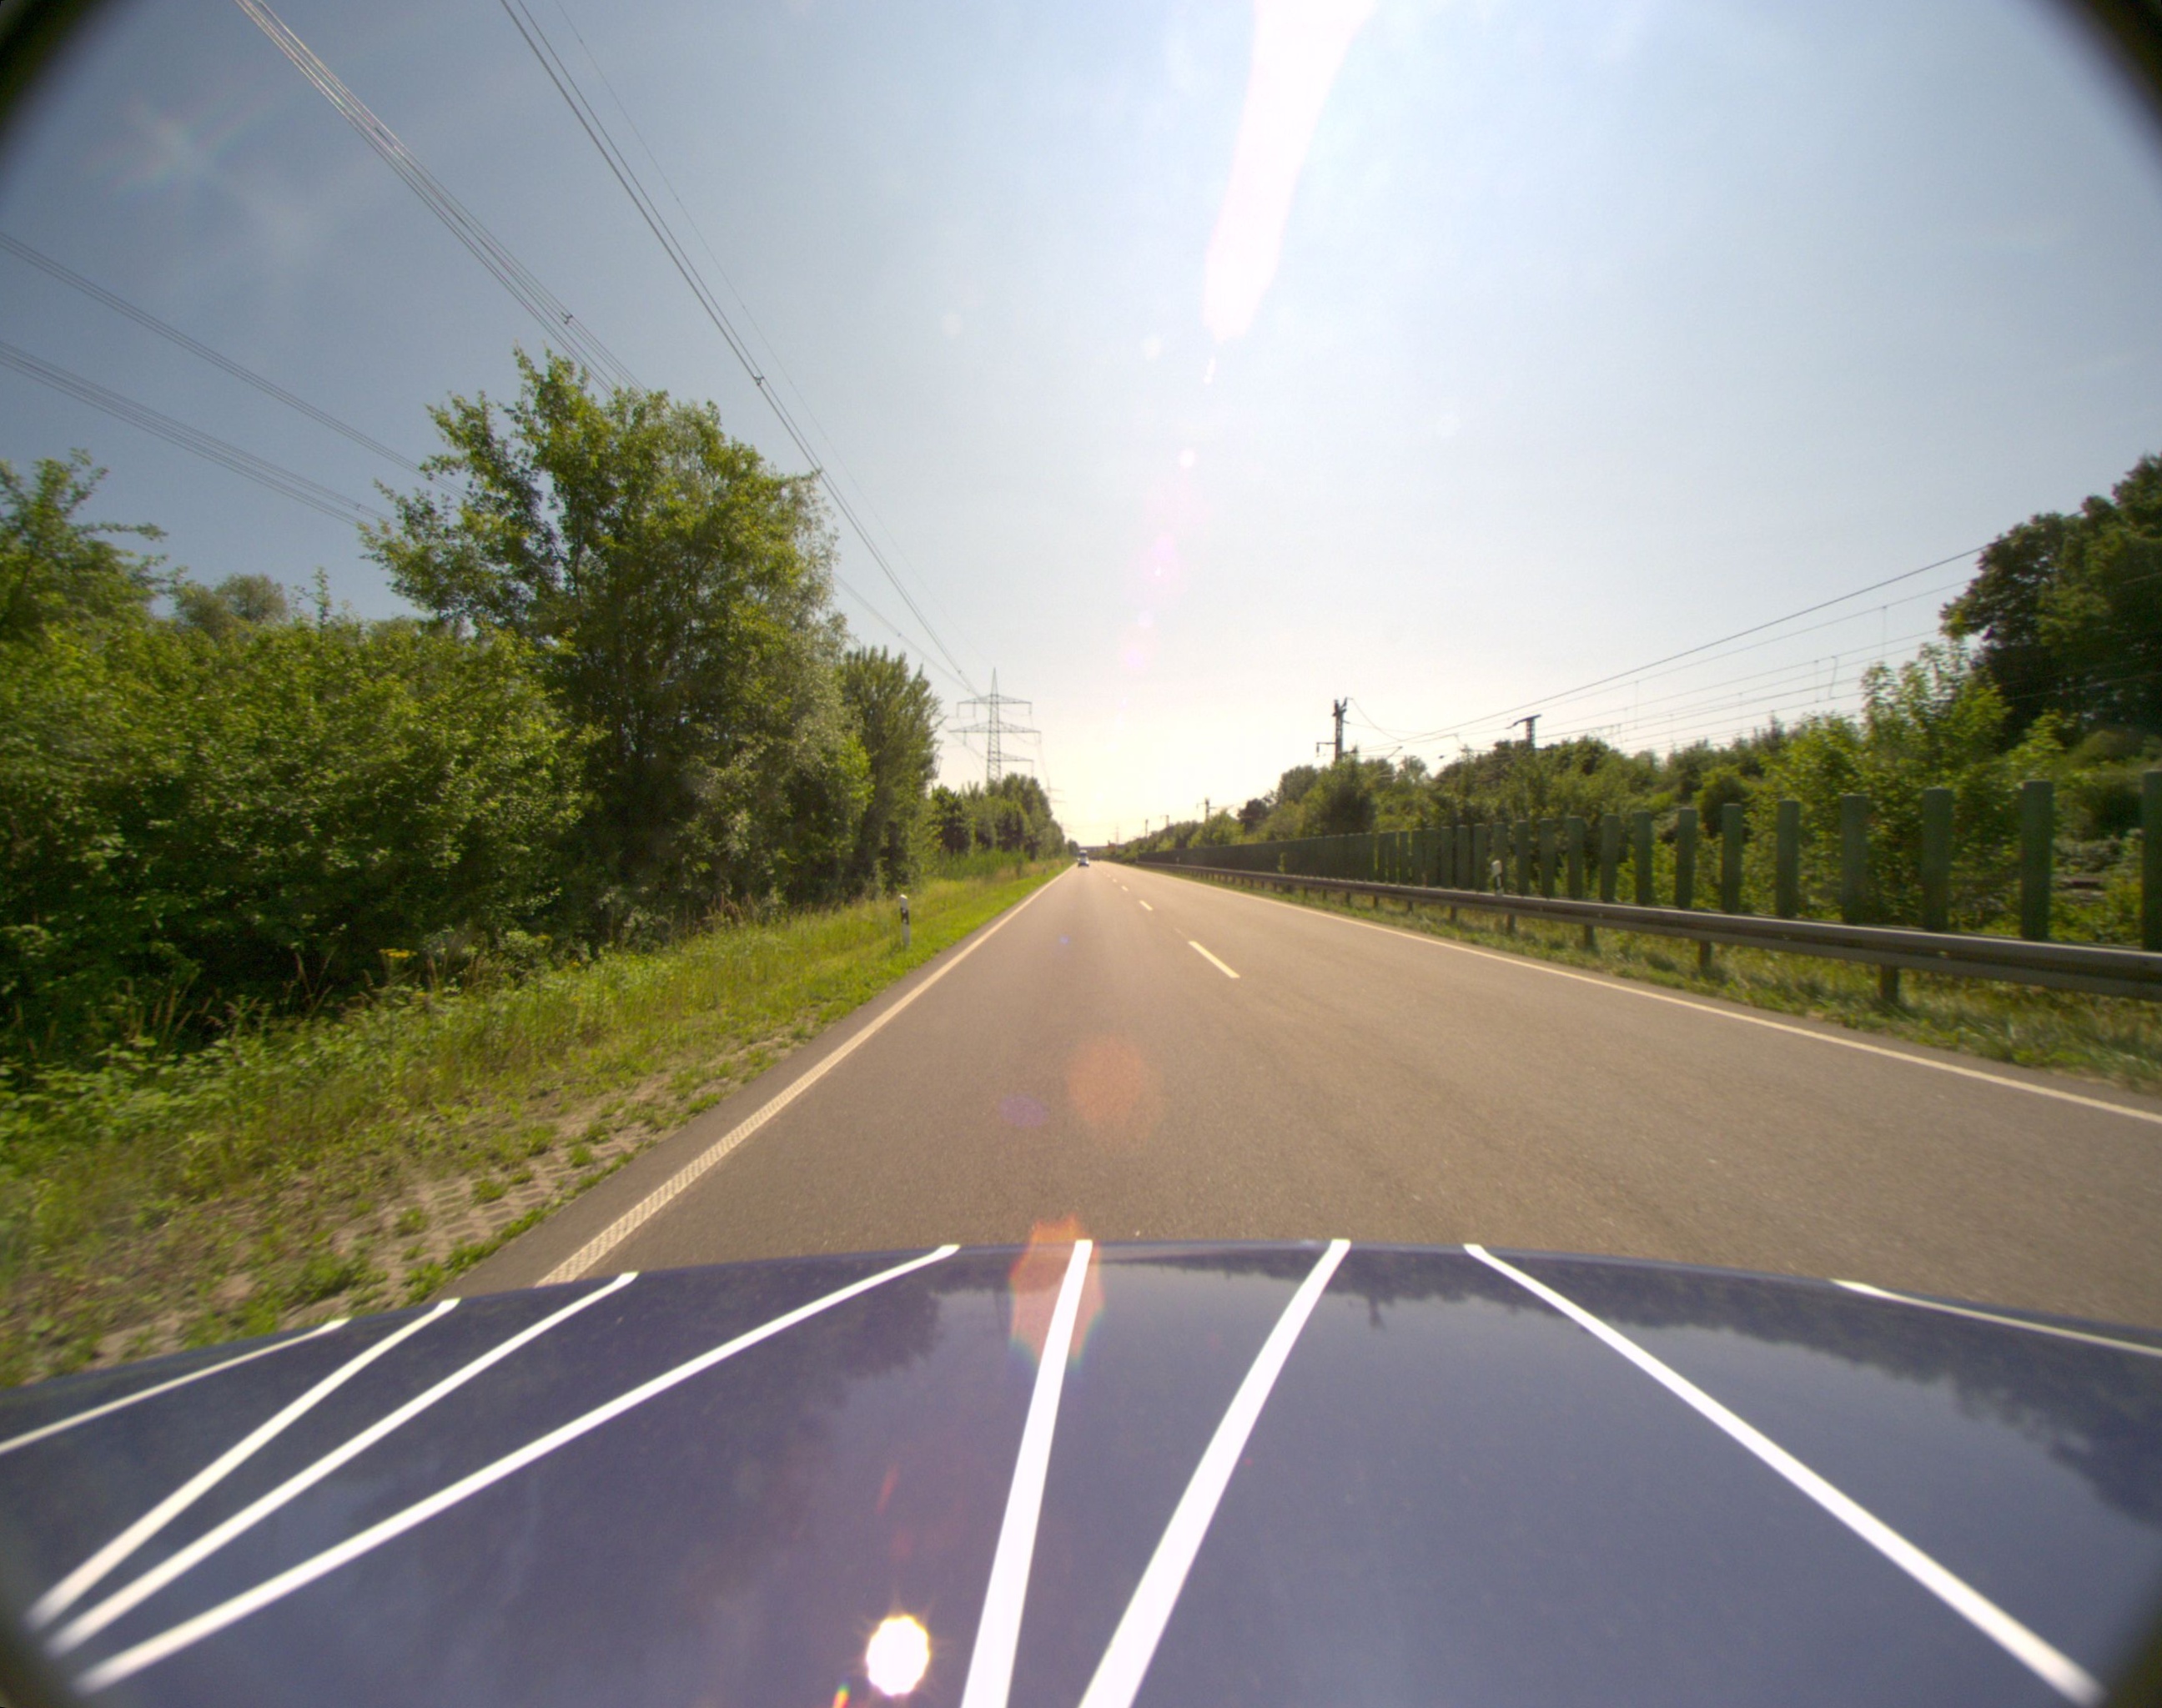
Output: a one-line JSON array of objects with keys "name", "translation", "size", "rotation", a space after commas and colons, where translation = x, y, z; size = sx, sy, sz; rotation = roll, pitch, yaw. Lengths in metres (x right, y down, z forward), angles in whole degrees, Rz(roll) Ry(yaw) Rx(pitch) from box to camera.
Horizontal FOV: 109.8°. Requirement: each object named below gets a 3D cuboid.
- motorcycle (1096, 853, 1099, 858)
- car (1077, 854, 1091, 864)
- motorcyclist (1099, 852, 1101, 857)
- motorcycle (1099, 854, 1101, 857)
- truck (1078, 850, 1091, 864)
[{"name": "motorcycle", "translation": [5.663, 0.443, 256.859], "size": [0.970, 1.487, 2.630], "rotation": [-2, 1, 2]}, {"name": "car", "translation": [0.404, 0.801, 113.504], "size": [1.999, 1.346, 4.157], "rotation": [-2, 0, 0]}, {"name": "motorcyclist", "translation": [5.790, 0.066, 231.883], "size": [0.760, 1.574, 1.003], "rotation": [-2, 1, 1]}, {"name": "motorcycle", "translation": [5.834, 0.486, 231.707], "size": [0.756, 1.008, 2.721], "rotation": [-2, 0, 2]}, {"name": "truck", "translation": [1.087, 1.023, 267.527], "size": [4.219, 4.608, 21.302], "rotation": [-2, 0, 0]}]
